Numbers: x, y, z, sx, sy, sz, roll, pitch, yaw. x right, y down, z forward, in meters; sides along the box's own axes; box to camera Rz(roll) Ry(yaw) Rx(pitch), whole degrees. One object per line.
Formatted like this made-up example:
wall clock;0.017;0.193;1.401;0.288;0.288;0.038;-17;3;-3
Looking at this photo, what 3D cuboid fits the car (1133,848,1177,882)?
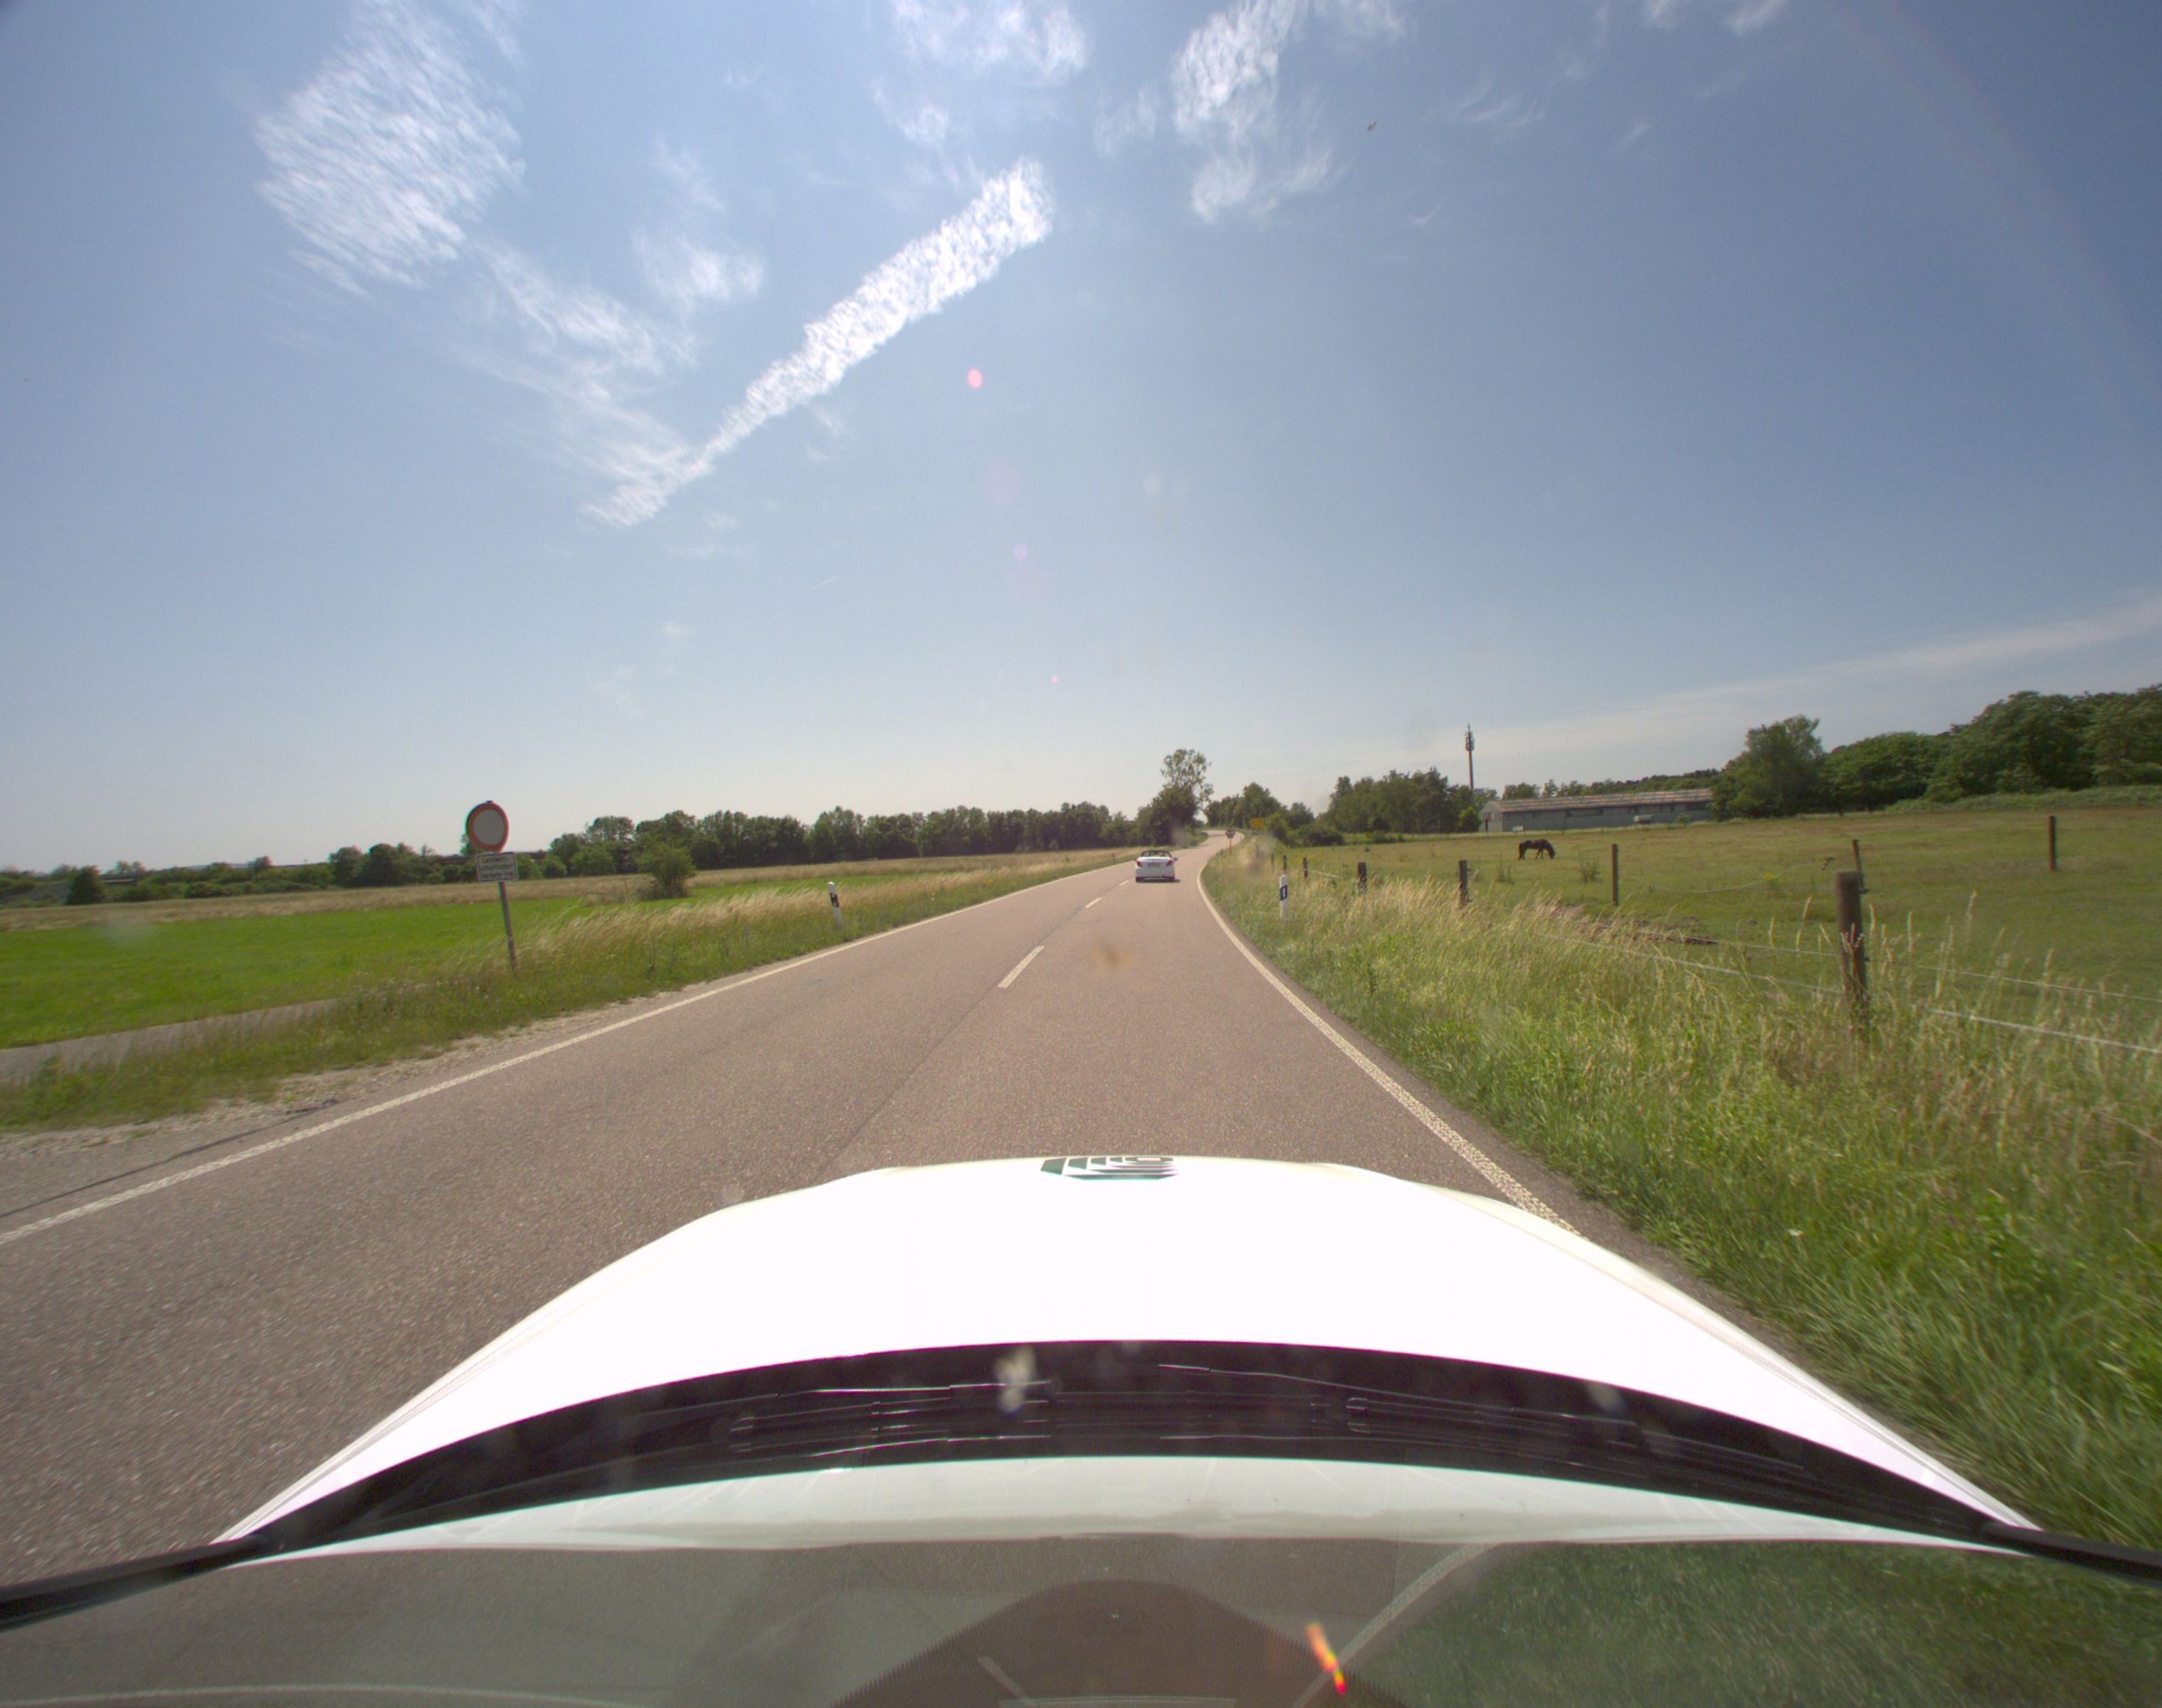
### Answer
car;3.363;0.454;36.863;1.841;1.379;4.007;-1;1;6
